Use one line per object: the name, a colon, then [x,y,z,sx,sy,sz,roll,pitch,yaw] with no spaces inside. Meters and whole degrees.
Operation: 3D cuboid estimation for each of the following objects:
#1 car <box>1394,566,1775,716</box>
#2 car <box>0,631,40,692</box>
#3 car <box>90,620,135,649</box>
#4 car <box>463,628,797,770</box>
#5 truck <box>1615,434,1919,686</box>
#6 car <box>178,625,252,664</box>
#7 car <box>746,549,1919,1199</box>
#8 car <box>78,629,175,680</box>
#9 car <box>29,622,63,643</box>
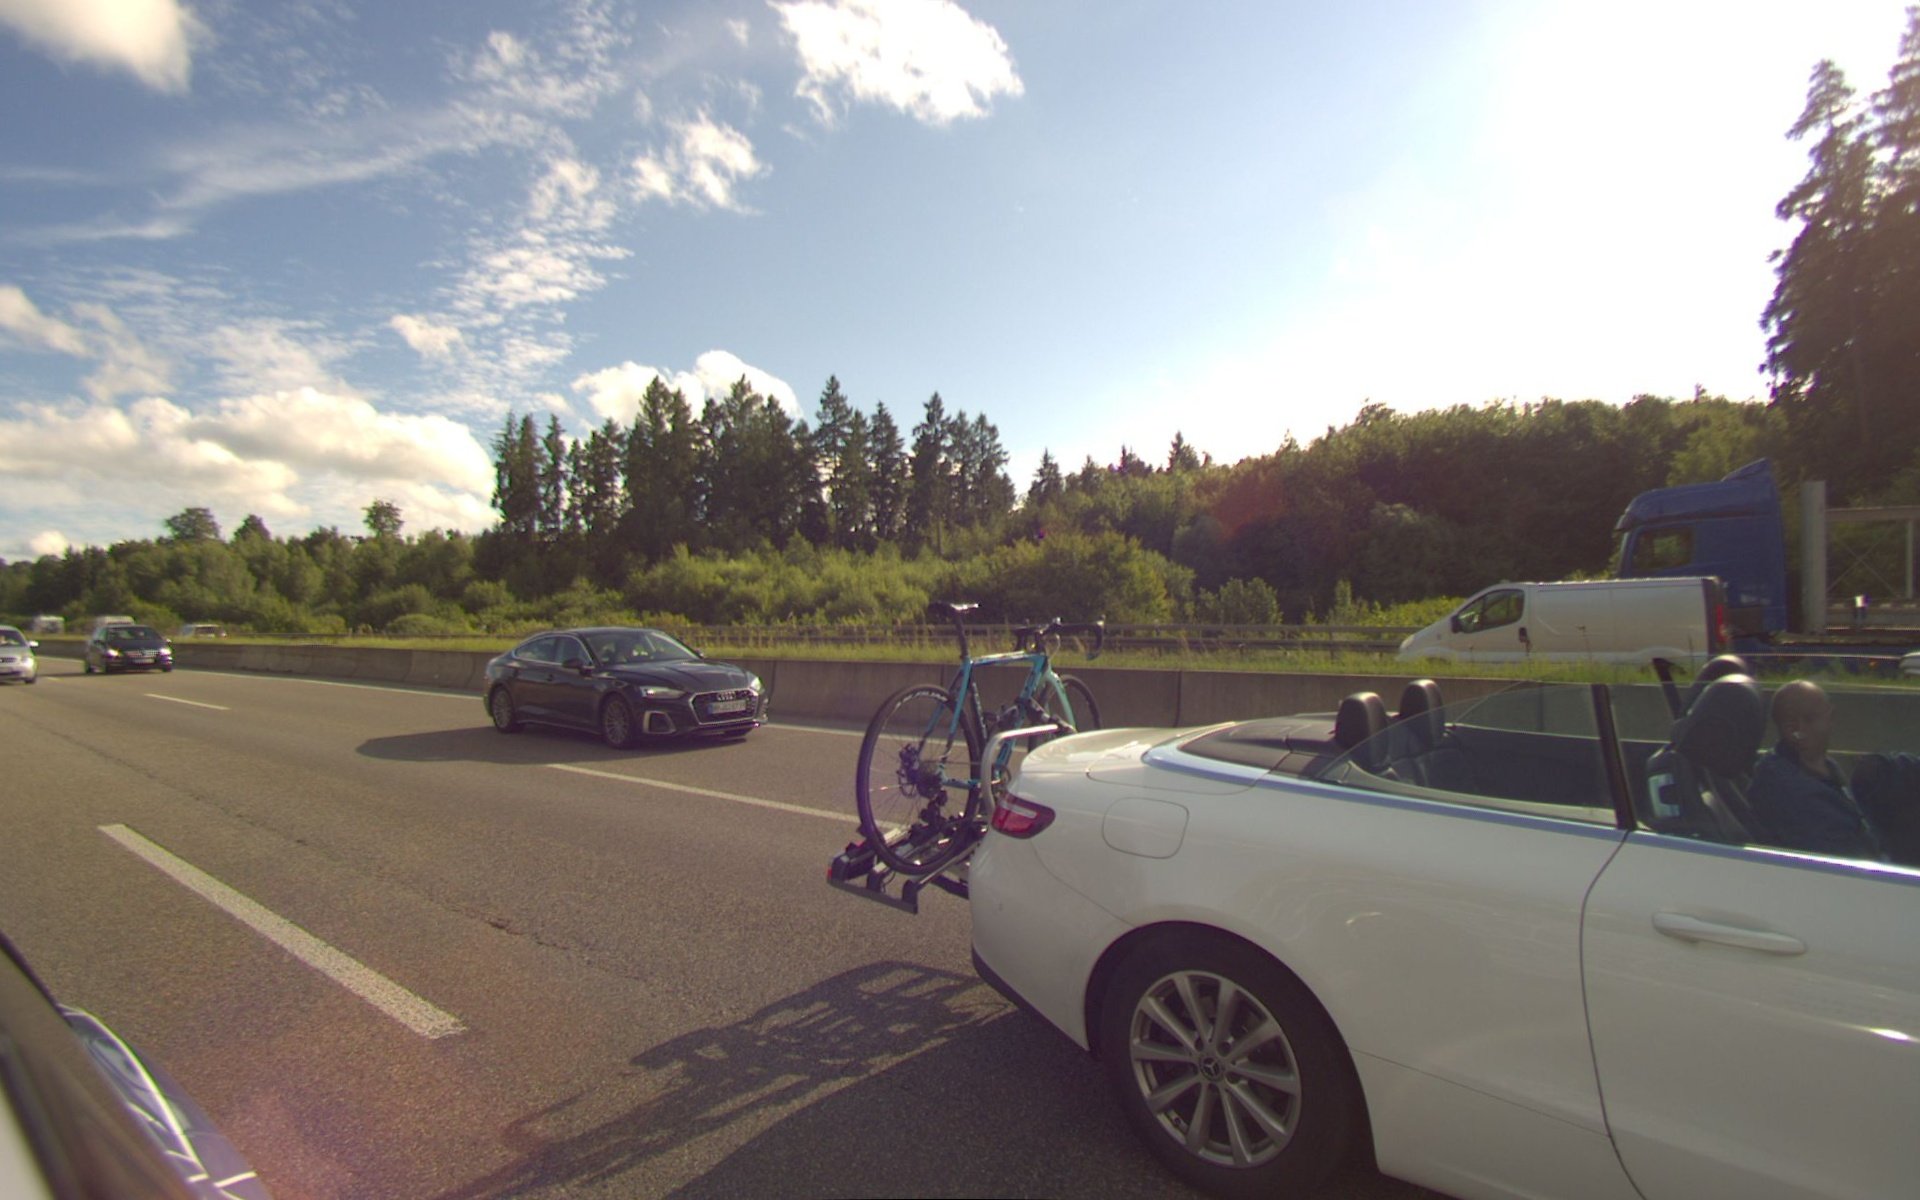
car: [9.737,0.612,16.048,4.857,2.029,1.972,-2,-1,42]
car: [-26.466,1.649,27.425,4.331,1.529,1.816,-2,-1,41]
car: [-72.969,2.930,87.100,5.443,2.292,2.075,-2,1,41]
car: [-4.344,1.113,12.850,4.839,1.442,1.836,-2,-1,42]
truck: [15.463,-0.603,16.951,7.119,3.867,3.082,-2,-1,41]
car: [-40.833,2.388,55.428,5.281,1.939,2.075,-2,1,41]
car: [2.047,0.681,2.511,5.733,1.511,2.038,-2,-1,42]
car: [-27.320,1.754,33.121,4.331,1.529,1.816,-2,-1,41]
car: [-116.919,4.204,129.432,5.842,2.494,2.518,-2,1,41]
